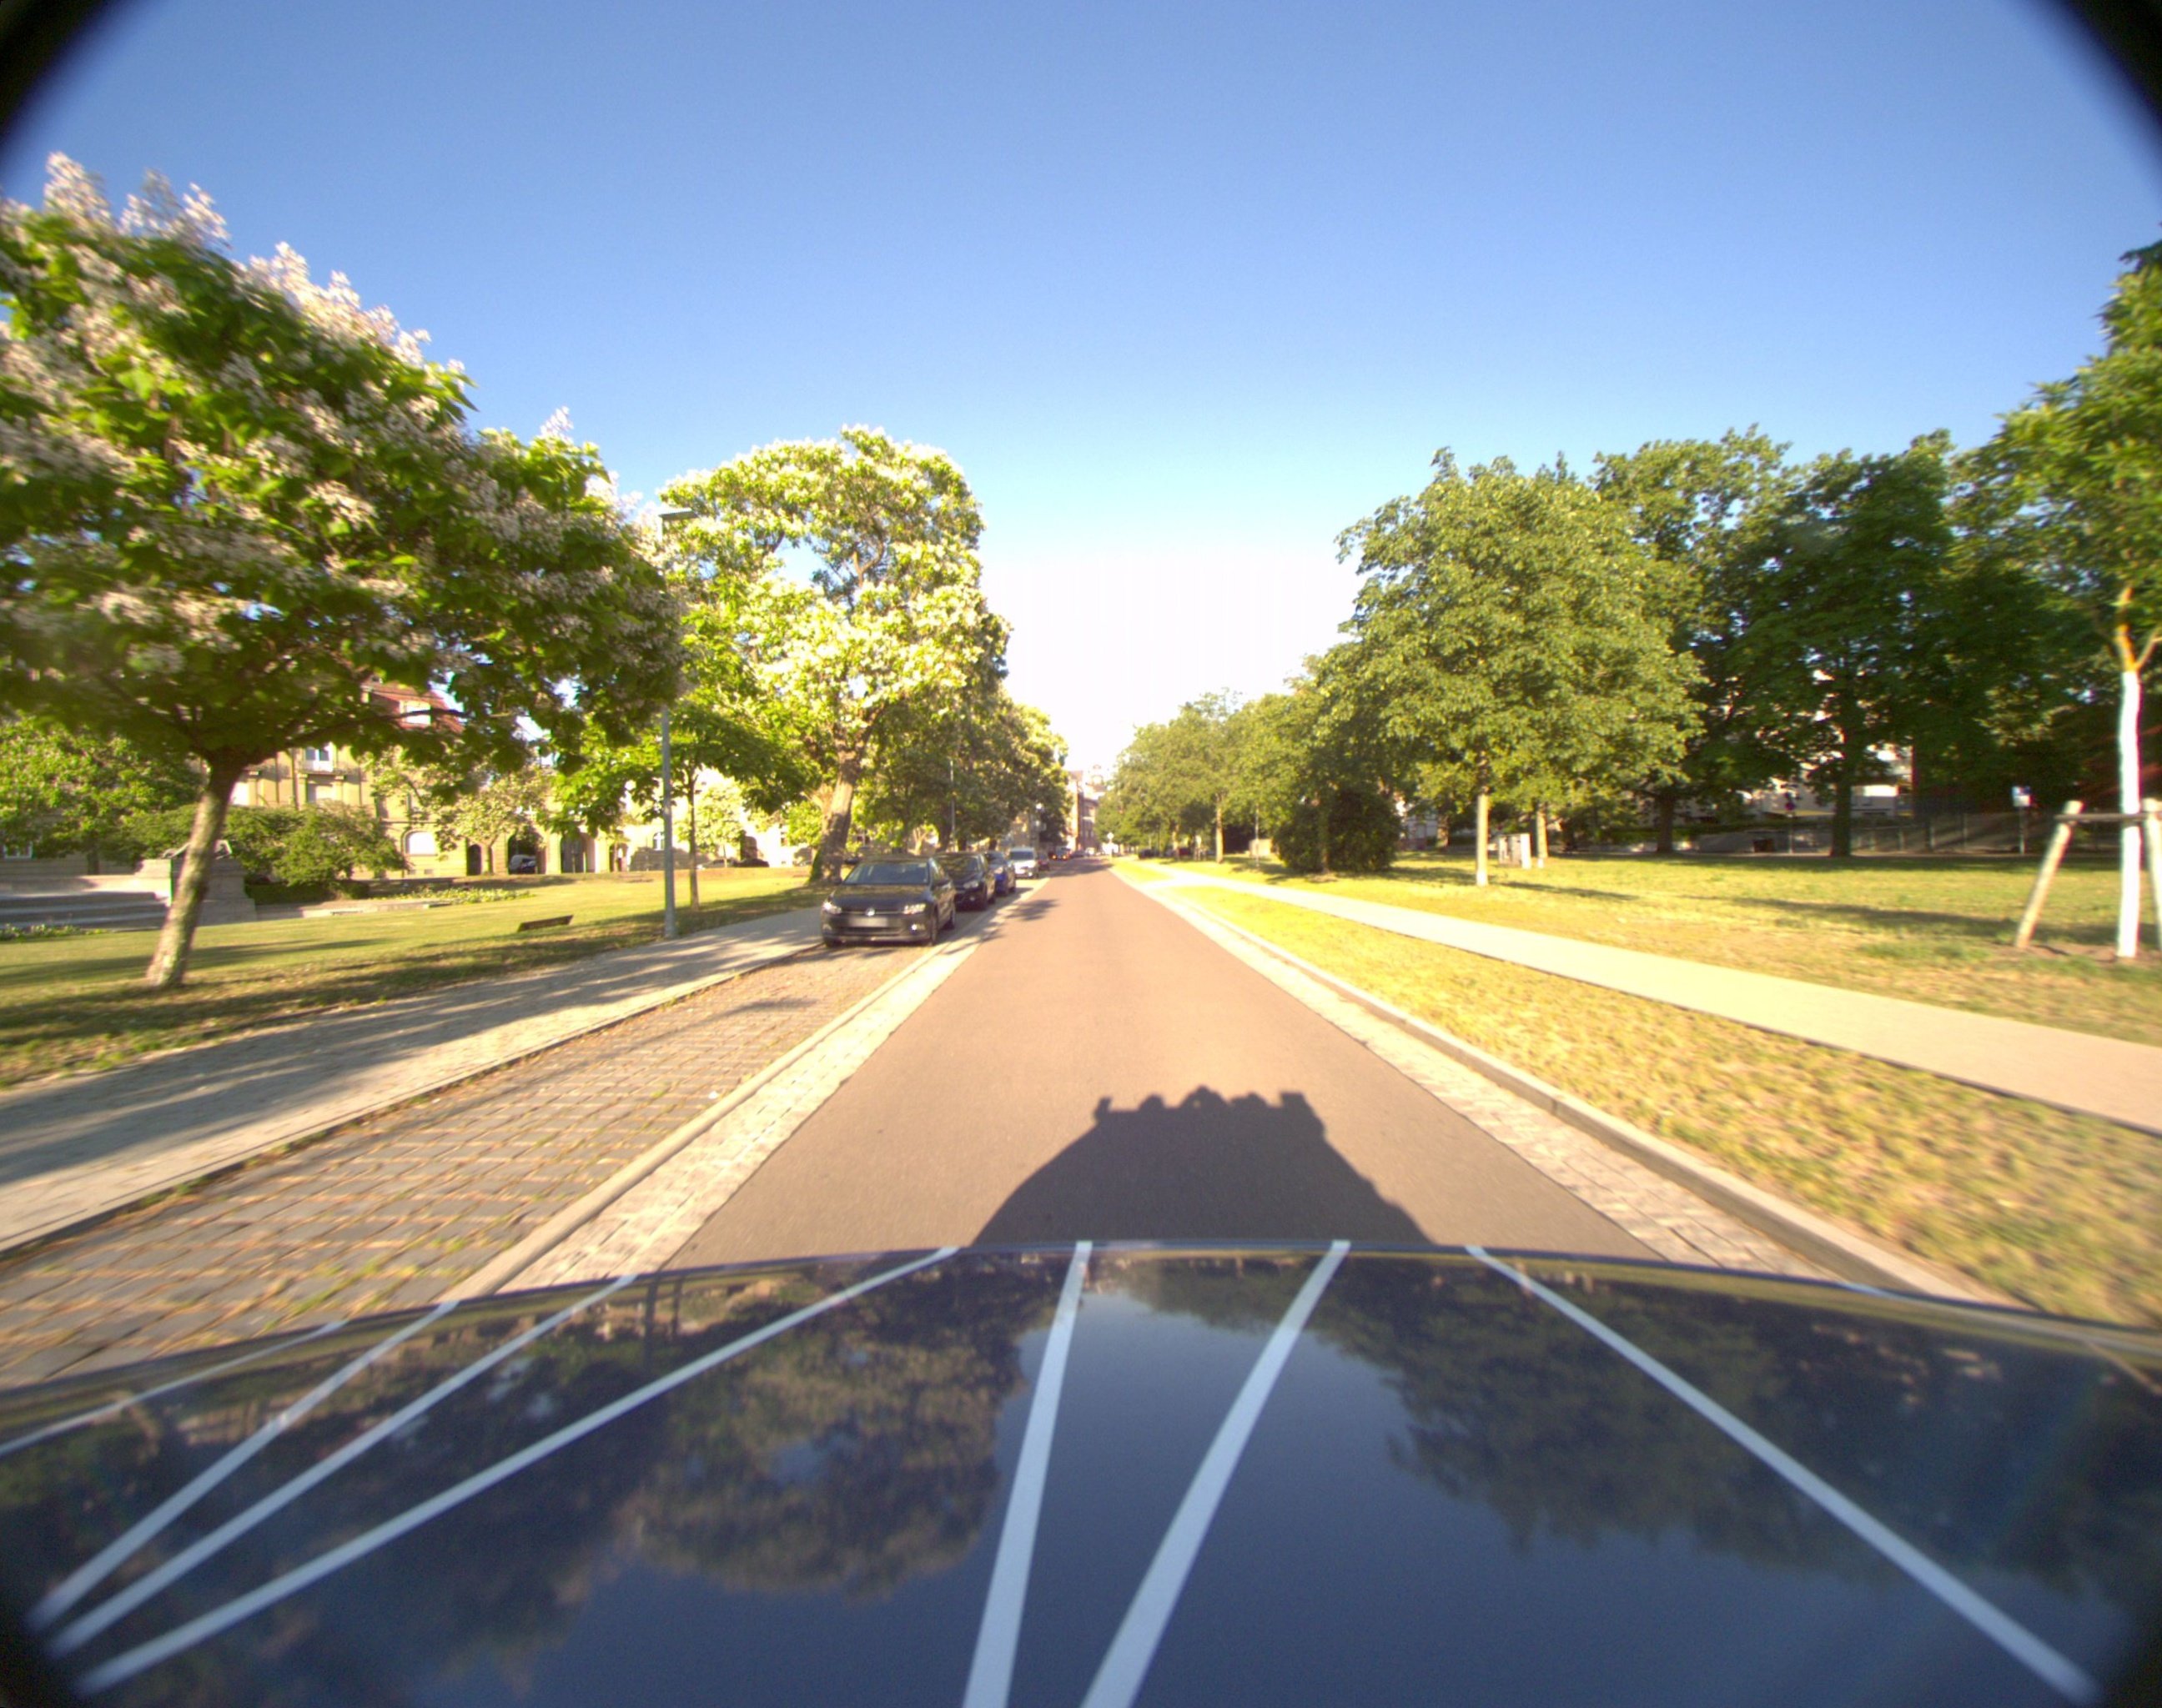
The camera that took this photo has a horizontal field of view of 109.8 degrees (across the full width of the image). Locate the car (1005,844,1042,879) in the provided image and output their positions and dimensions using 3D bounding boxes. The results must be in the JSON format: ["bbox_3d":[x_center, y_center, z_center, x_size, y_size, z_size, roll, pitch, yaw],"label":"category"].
[{"bbox_3d":[-3.089,0.363,41.516,1.682,1.730,4.512,-1,1,0],"label":"car"}]

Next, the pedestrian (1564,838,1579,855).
[{"bbox_3d":[28.410,-0.424,44.024,0.549,0.981,0.610,-1,2,11],"label":"pedestrian"}]

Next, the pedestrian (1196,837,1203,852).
[{"bbox_3d":[14.152,-1.155,90.633,0.663,1.686,0.672,-2,1,2],"label":"pedestrian"}]

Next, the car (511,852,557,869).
[{"bbox_3d":[-70.320,0.783,97.691,1.814,2.096,4.380,0,2,38],"label":"car"}]

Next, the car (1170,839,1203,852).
[{"bbox_3d":[13.935,-1.129,100.356,4.004,1.565,1.886,-2,3,-24],"label":"car"}]

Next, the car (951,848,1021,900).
[{"bbox_3d":[-3.165,0.624,26.101,1.736,1.542,4.275,-1,1,1],"label":"car"}]

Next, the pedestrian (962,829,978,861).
[{"bbox_3d":[-6.050,-0.494,41.427,0.727,1.726,0.731,-2,1,1],"label":"pedestrian"}]

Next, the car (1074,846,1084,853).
[{"bbox_3d":[-0.441,-0.918,154.343,1.610,1.349,3.549,-1,1,6],"label":"car"}]

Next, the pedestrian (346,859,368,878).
[{"bbox_3d":[-55.933,1.100,58.684,0.682,1.467,0.950,-1,2,2],"label":"pedestrian"}]

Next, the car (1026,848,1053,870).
[{"bbox_3d":[-3.004,0.314,55.684,1.682,1.477,4.808,-1,1,0],"label":"car"}]

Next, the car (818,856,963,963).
[{"bbox_3d":[-3.121,0.818,13.269,1.631,1.456,4.247,-1,1,-3],"label":"car"}]

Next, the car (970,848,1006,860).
[{"bbox_3d":[-11.809,-0.046,96.981,4.452,1.411,1.934,-1,1,-5],"label":"car"}]

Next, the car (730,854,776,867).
[{"bbox_3d":[-38.376,0.734,88.882,4.657,1.409,1.815,-2,2,-31],"label":"car"}]

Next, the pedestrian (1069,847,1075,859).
[{"bbox_3d":[-1.263,-0.119,109.145,0.778,1.759,0.955,-2,1,1],"label":"pedestrian"}]

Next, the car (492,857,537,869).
[{"bbox_3d":[-75.430,1.148,101.208,1.814,1.409,4.380,0,2,35],"label":"car"}]

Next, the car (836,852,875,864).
[{"bbox_3d":[-27.747,0.456,93.608,4.458,1.317,1.502,-1,1,-22],"label":"car"}]

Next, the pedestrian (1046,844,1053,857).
[{"bbox_3d":[-4.550,-0.555,109.498,0.733,1.820,0.555,-3,1,-36],"label":"pedestrian"}]

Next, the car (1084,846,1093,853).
[{"bbox_3d":[1.690,-1.089,170.115,1.509,1.438,3.731,-1,1,6],"label":"car"}]

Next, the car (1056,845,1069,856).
[{"bbox_3d":[-2.623,-0.469,108.633,1.707,1.616,4.348,1,0,0],"label":"car"}]

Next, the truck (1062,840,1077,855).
[{"bbox_3d":[-2.022,-1.128,130.922,2.133,2.549,6.876,-1,1,3],"label":"truck"}]

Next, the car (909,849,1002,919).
[{"bbox_3d":[-3.136,0.682,19.850,1.736,1.542,4.421,-1,1,-1],"label":"car"}]

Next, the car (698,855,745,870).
[{"bbox_3d":[-38.693,0.880,81.741,4.378,1.409,1.815,-2,2,-30],"label":"car"}]

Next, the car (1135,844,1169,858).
[{"bbox_3d":[9.204,-0.403,98.307,4.004,1.565,1.886,-2,3,-24],"label":"car"}]

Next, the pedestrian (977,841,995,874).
[{"bbox_3d":[-5.081,0.204,40.712,0.755,1.726,0.731,-2,1,1],"label":"pedestrian"}]

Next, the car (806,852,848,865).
[{"bbox_3d":[-28.991,0.483,86.656,4.443,1.409,1.563,-2,1,-23],"label":"car"}]

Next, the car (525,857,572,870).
[{"bbox_3d":[-65.556,1.122,93.619,1.814,1.409,4.380,0,2,35],"label":"car"}]

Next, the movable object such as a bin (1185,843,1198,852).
[{"bbox_3d":[13.189,-0.767,90.631,1.332,0.984,0.949,-1,1,0],"label":"movable object such as a bin"}]

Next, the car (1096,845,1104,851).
[{"bbox_3d":[4.894,-1.434,191.611,1.582,1.499,3.848,-1,1,7],"label":"car"}]

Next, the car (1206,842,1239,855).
[{"bbox_3d":[19.093,-0.752,102.601,4.003,1.565,1.887,-2,3,-20],"label":"car"}]

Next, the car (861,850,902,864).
[{"bbox_3d":[-23.339,0.339,88.869,4.371,1.409,1.842,-1,1,-20],"label":"car"}]

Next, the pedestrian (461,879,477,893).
[{"bbox_3d":[-42.677,2.238,52.997,0.576,0.876,0.678,-1,2,38],"label":"pedestrian"}]
